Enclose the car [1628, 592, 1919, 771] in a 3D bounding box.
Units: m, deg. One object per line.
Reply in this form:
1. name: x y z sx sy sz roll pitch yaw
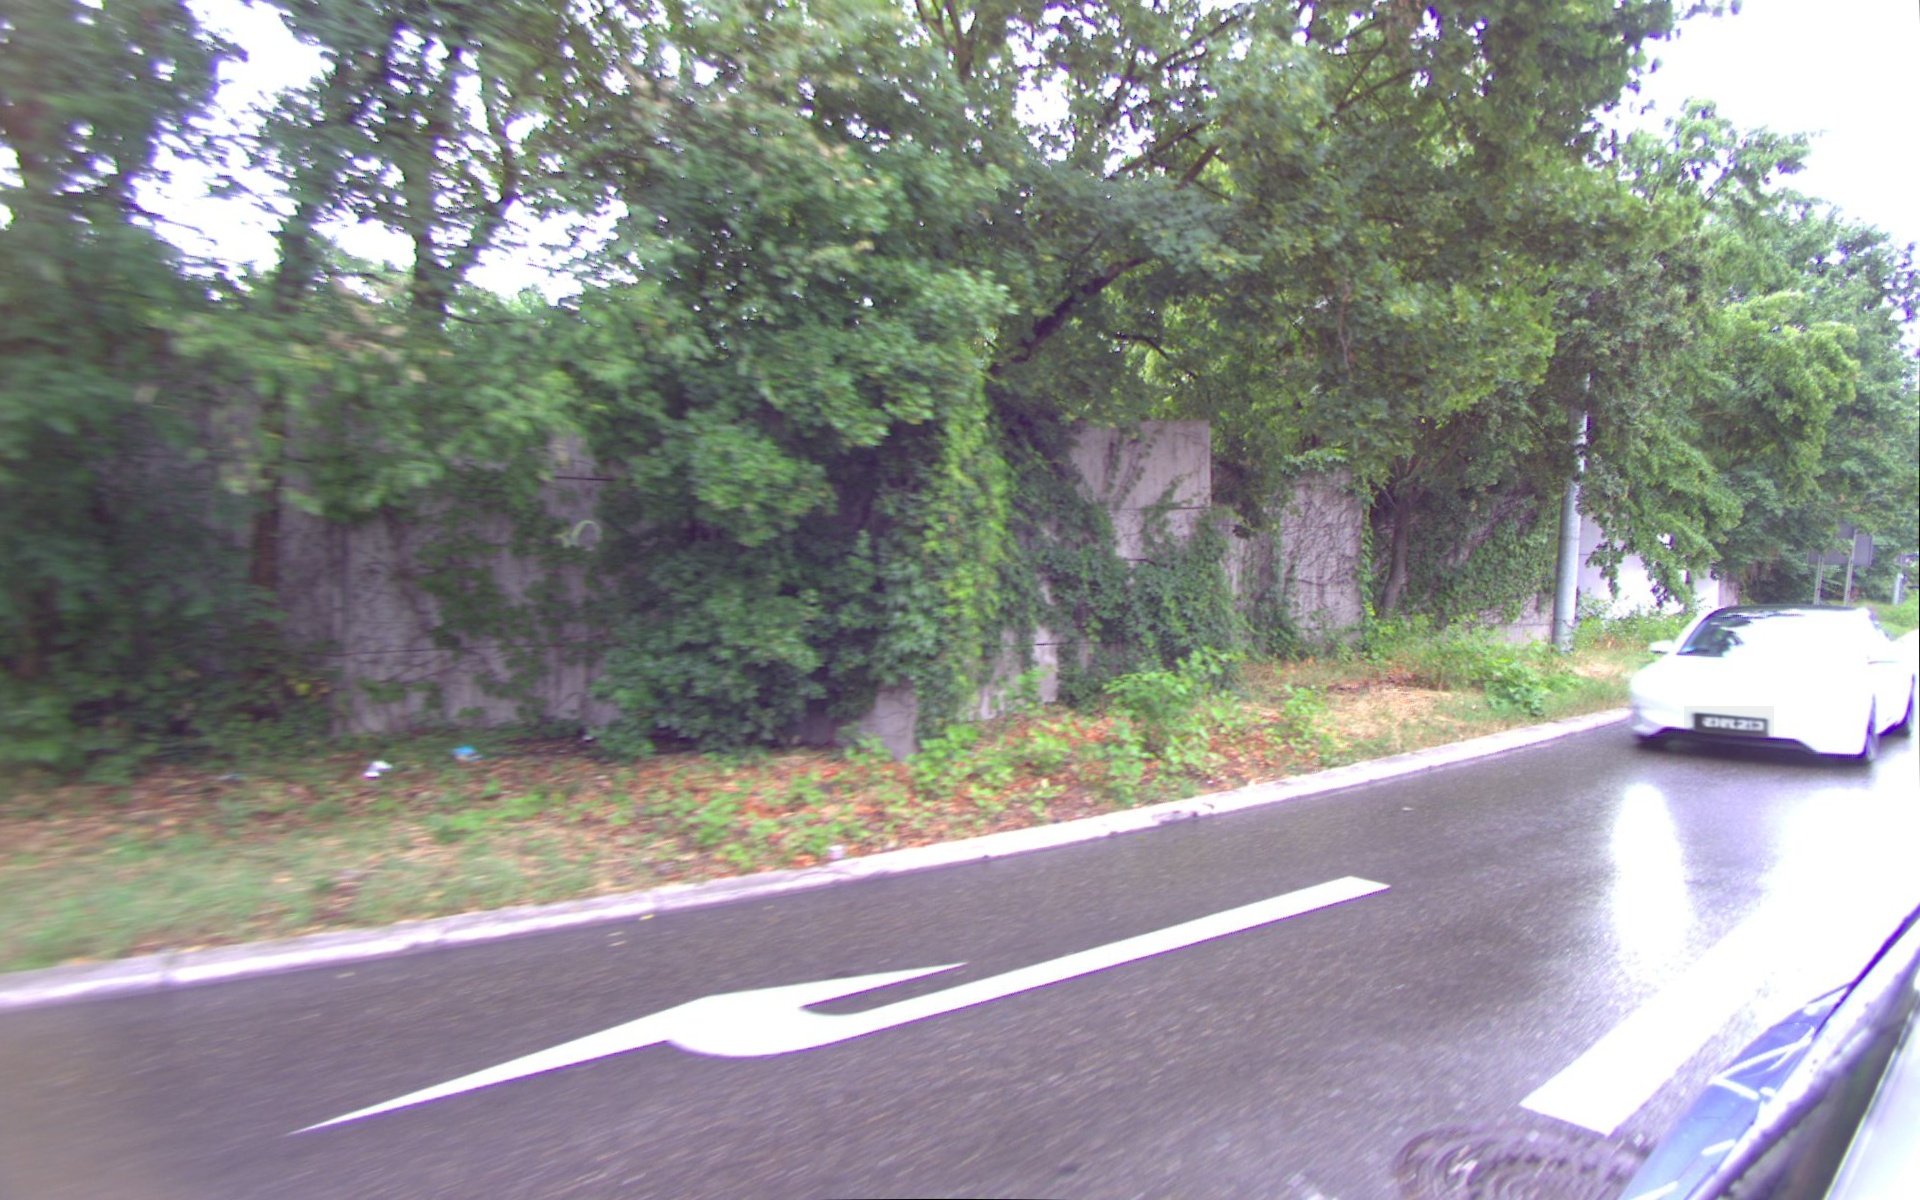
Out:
1. car: 8.655 0.666 10.550 4.200 1.450 1.838 -1 1 -42
